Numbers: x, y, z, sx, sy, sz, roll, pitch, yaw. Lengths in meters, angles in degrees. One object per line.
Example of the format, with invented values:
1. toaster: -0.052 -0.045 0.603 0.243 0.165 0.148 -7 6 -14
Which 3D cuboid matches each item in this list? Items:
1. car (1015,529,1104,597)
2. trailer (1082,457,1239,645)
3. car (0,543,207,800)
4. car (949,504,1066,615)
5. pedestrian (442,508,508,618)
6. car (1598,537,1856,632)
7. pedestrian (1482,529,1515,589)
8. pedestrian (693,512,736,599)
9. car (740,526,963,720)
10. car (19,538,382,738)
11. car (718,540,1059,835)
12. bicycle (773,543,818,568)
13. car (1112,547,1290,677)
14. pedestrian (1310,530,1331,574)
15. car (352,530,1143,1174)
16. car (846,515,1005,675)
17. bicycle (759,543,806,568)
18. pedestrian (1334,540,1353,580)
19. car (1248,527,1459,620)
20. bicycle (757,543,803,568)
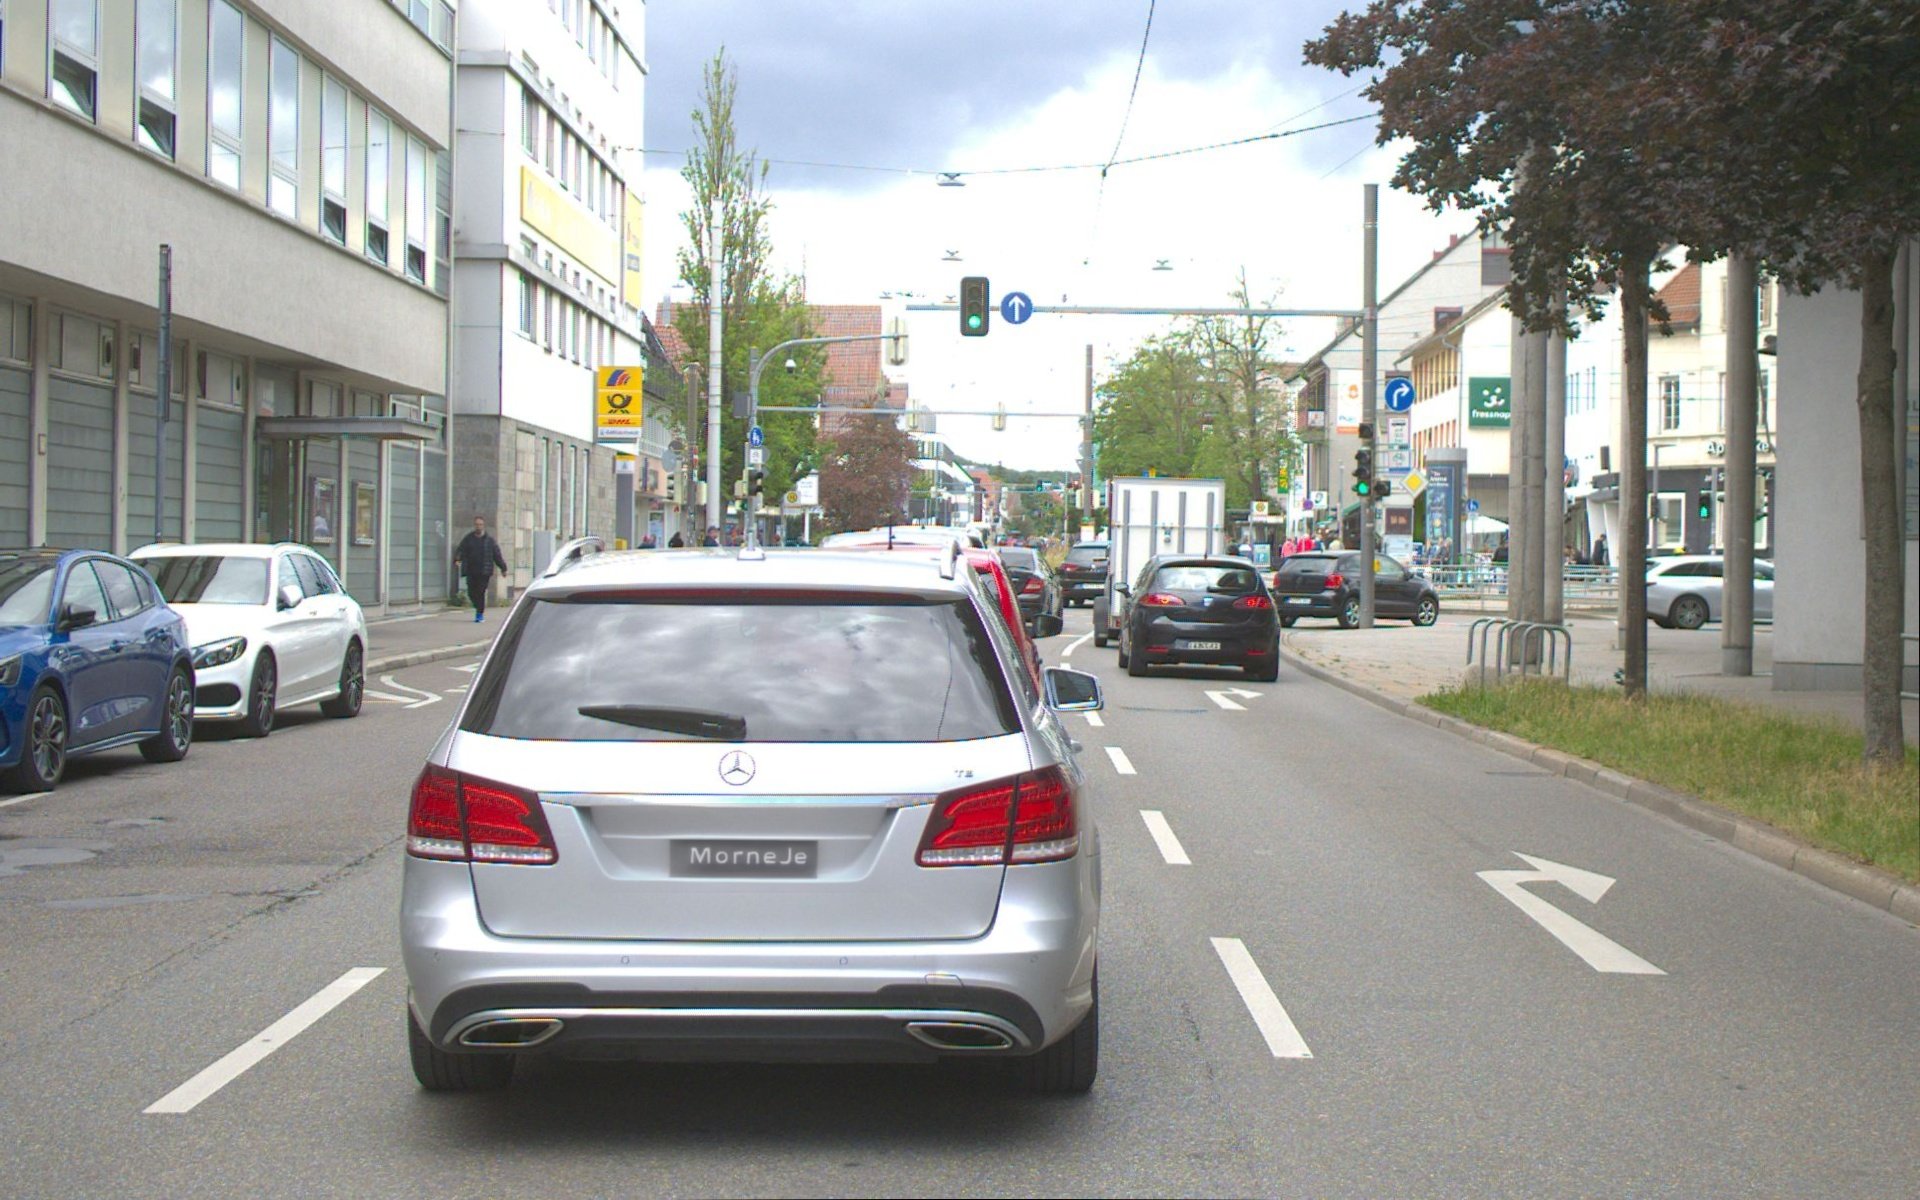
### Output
1. car: 2.125 -0.819 74.406 1.734 1.406 4.001 0 2 -1
2. trailer: 2.953 -0.747 51.435 1.877 2.604 4.323 3 1 -1
3. car: -6.161 0.375 21.392 1.815 1.421 4.264 -1 1 3
4. car: 0.766 -0.695 57.656 1.828 1.779 4.000 1 1 -1
5. pedestrian: -7.774 -0.600 55.143 0.861 1.712 1.032 2 1 -1
6. car: 15.067 -0.316 67.651 4.544 1.600 1.740 3 1 -7
7. pedestrian: 15.662 -1.196 100.009 0.649 1.712 0.703 1 1 42
8. pedestrian: -4.943 -0.902 69.331 0.648 1.712 0.782 2 1 8
9. car: -0.886 0.138 28.906 1.734 1.503 4.000 0 1 -1
10. car: -5.930 0.239 27.393 1.670 1.429 4.552 -1 1 3
11. car: -0.313 0.419 19.802 1.734 1.503 4.000 1 1 2
12. bicycle: -7.313 -1.975 152.632 1.937 1.025 0.530 2 1 -8
13. car: 2.801 0.103 40.660 1.734 1.406 4.001 0 2 -1
14. pedestrian: 13.857 -1.852 132.234 0.577 1.661 0.651 2 1 -10
15. car: -0.538 0.554 10.166 1.845 1.503 4.171 0 1 -1
16. car: -0.420 -0.092 40.008 1.734 1.753 4.000 0 1 -1
17. bicycle: -7.683 -1.922 148.655 1.937 1.025 0.530 2 1 -8
18. pedestrian: 14.404 -1.509 129.100 0.578 1.464 0.651 2 1 -1
19. car: 7.374 -0.509 64.316 3.788 1.664 1.928 0 1 -43
20. bicycle: -7.809 -1.937 149.318 1.937 1.025 0.530 2 1 -8
